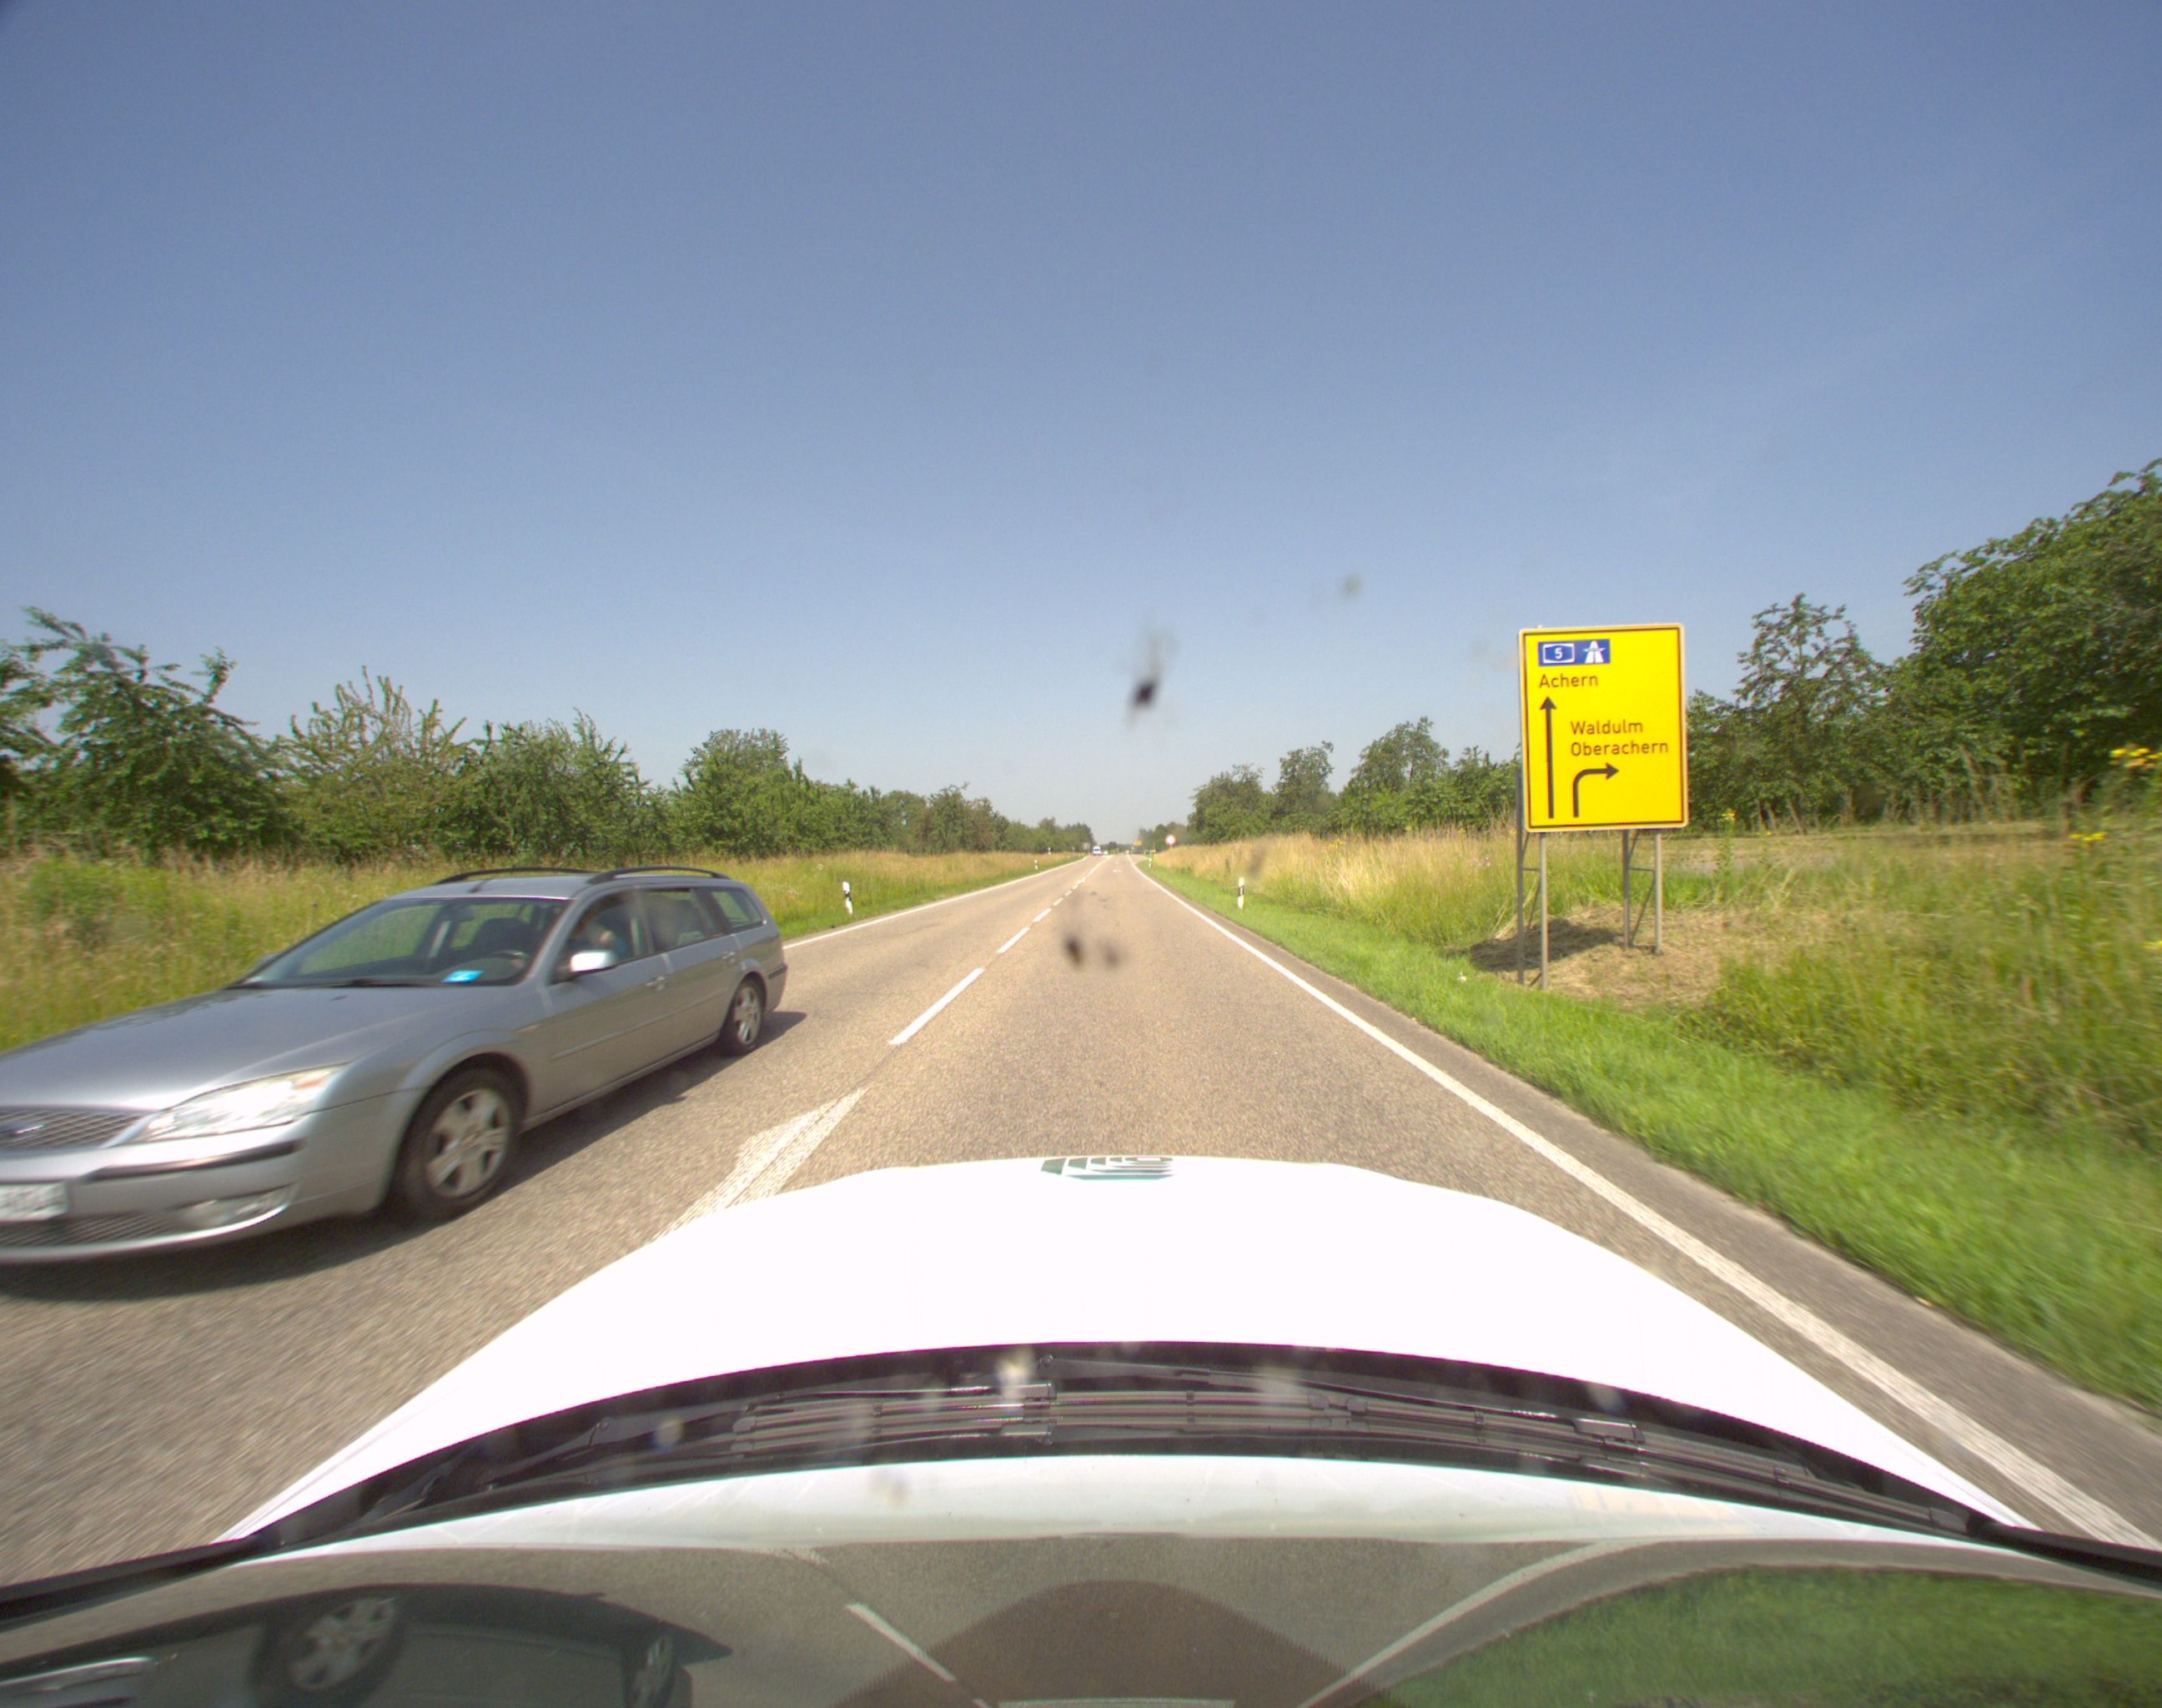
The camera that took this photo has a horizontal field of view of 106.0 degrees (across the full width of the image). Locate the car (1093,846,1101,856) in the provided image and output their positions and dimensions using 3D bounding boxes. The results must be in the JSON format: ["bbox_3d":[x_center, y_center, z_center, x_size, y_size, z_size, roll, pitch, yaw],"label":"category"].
[{"bbox_3d":[4.539,-0.812,229.995,2.153,2.669,6.145,-1,0,2],"label":"car"}]

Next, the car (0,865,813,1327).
[{"bbox_3d":[-3.407,0.836,5.111,1.684,1.408,4.895,-2,0,1],"label":"car"}]
